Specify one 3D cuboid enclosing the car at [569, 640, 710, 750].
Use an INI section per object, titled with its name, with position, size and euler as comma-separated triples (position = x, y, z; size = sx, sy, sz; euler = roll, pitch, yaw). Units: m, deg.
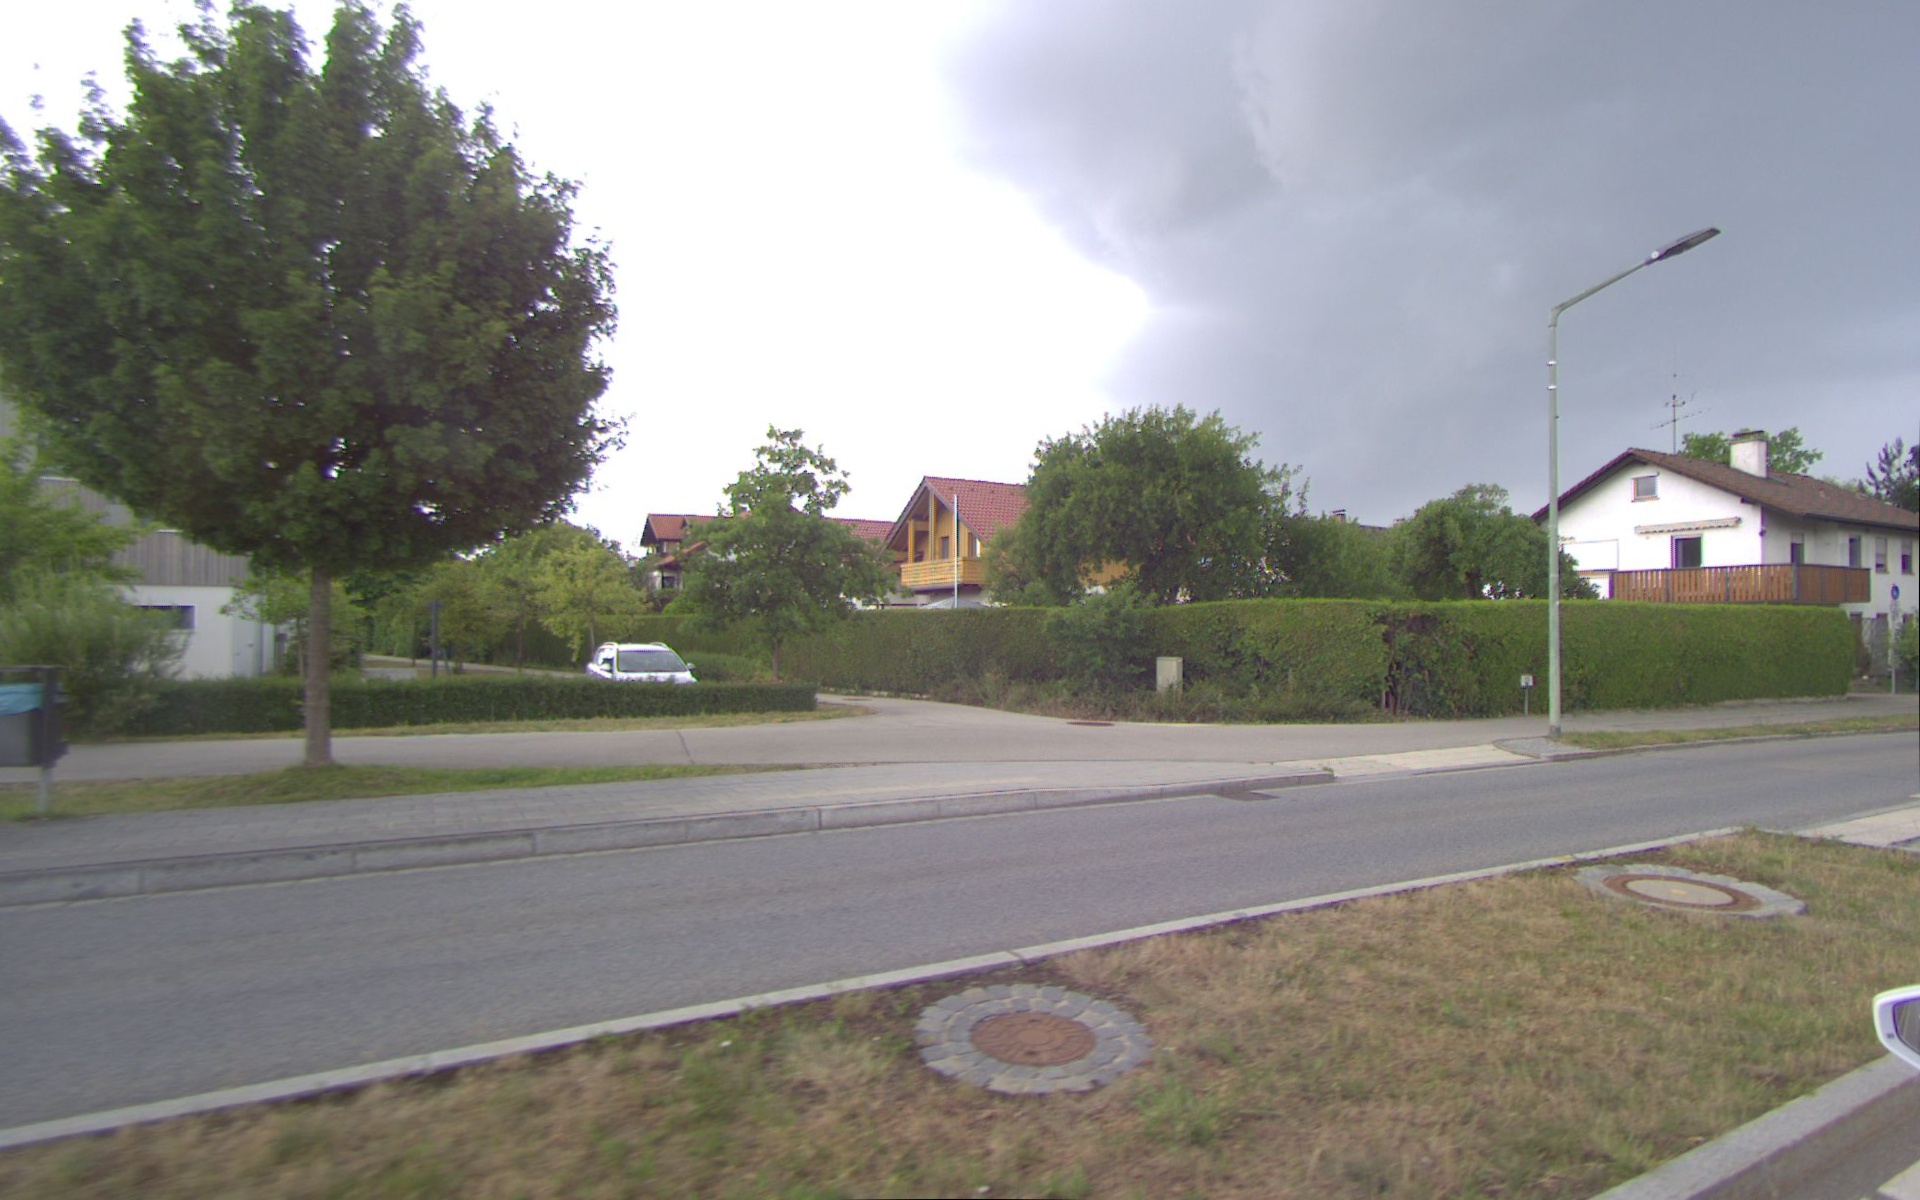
[car]
position = -6.908, 1.902, 21.394
size = 1.978, 2.040, 3.966
euler = 1, -2, -32
